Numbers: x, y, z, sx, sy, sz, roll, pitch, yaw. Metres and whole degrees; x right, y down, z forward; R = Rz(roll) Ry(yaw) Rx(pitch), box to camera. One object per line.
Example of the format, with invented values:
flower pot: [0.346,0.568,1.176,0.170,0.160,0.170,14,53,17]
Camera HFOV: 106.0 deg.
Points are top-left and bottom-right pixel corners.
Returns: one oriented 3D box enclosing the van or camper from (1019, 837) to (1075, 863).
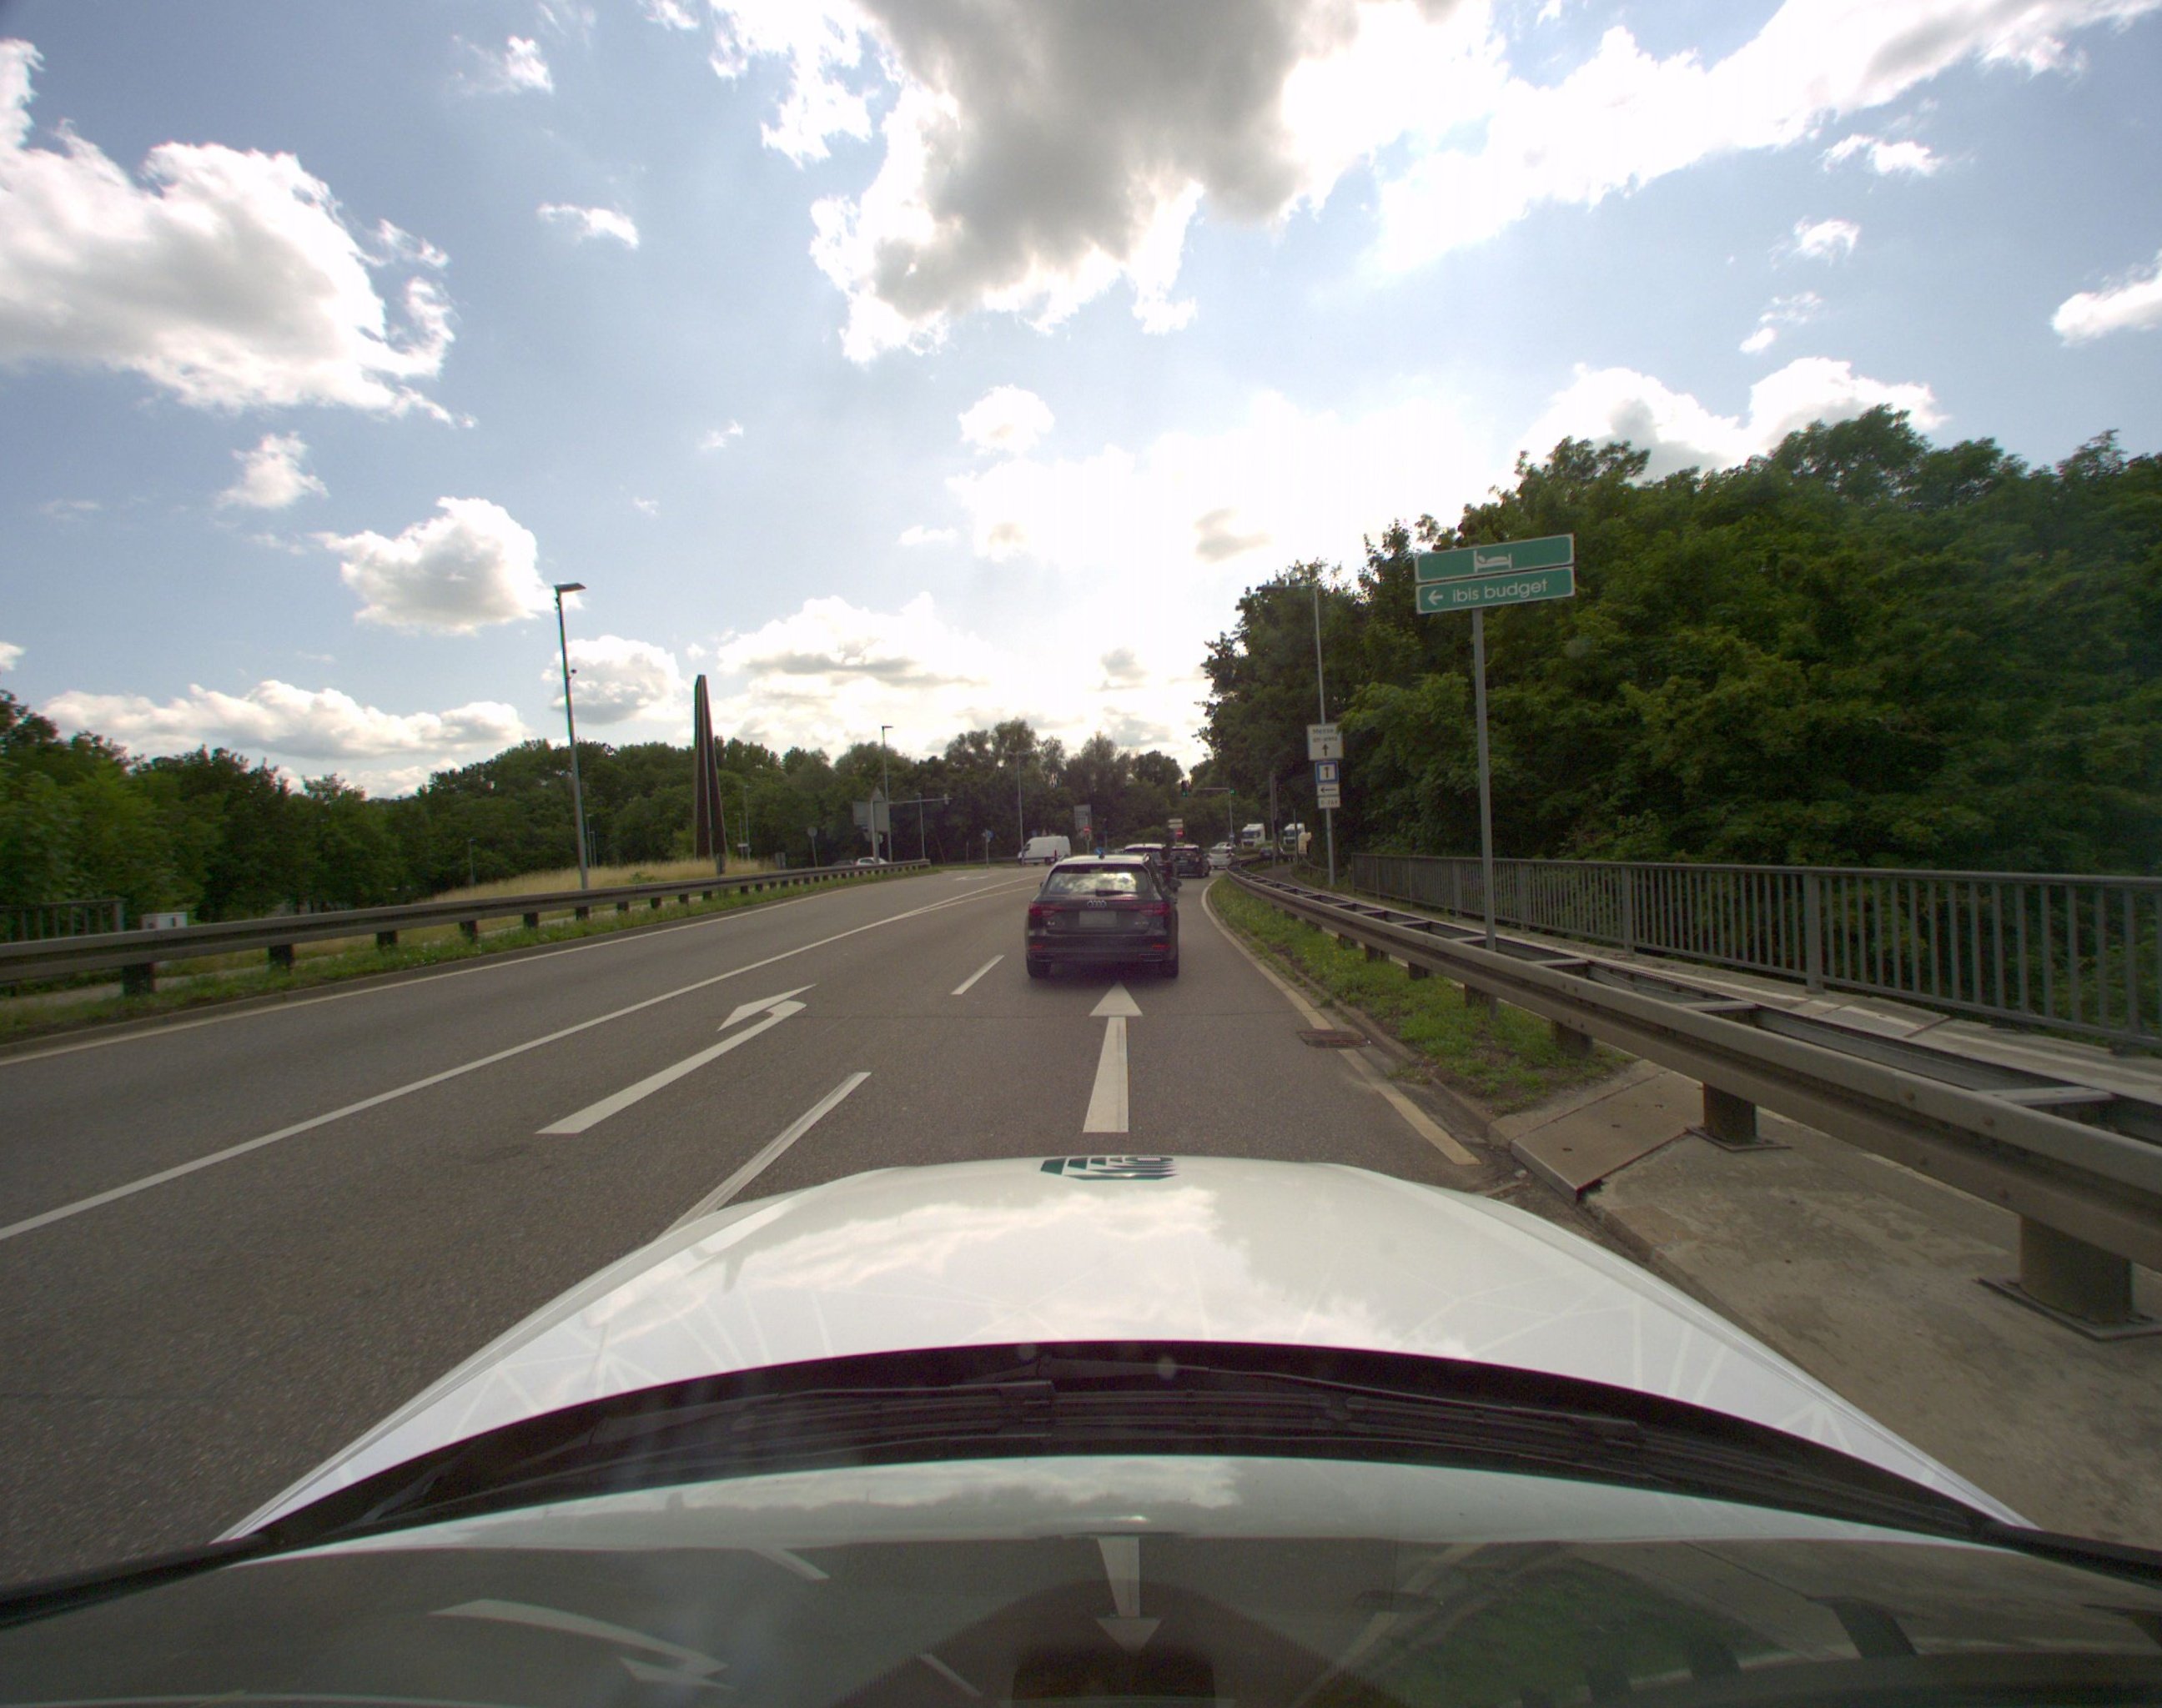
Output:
van or camper: [-3.213,-0.341,75.799,2.293,2.340,5.176,-1,1,-44]

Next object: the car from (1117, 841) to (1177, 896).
car: [2.131,0.427,26.446,1.813,1.651,3.860,0,1,4]

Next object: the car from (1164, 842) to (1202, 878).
car: [5.089,0.270,40.302,1.723,1.651,3.866,-1,0,9]

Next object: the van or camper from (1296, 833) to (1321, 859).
van or camper: [23.687,-0.883,84.773,1.976,2.590,4.113,0,1,24]

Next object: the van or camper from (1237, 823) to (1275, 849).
van or camper: [24.652,-2.558,114.223,2.877,3.615,8.181,1,2,29]

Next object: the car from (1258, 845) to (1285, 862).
car: [16.322,-0.034,69.574,1.668,1.398,3.699,-1,0,22]

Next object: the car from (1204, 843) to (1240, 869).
car: [9.305,0.114,53.447,1.719,1.651,3.875,-1,0,19]

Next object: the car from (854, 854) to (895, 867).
car: [-18.307,0.599,72.108,3.543,1.117,1.604,0,0,36]

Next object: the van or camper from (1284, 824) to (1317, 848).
van or camper: [33.798,-2.796,125.020,2.876,3.615,8.065,1,2,30]

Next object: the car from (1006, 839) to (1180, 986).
car: [0.372,0.593,10.754,1.818,1.491,4.215,-1,2,7]
